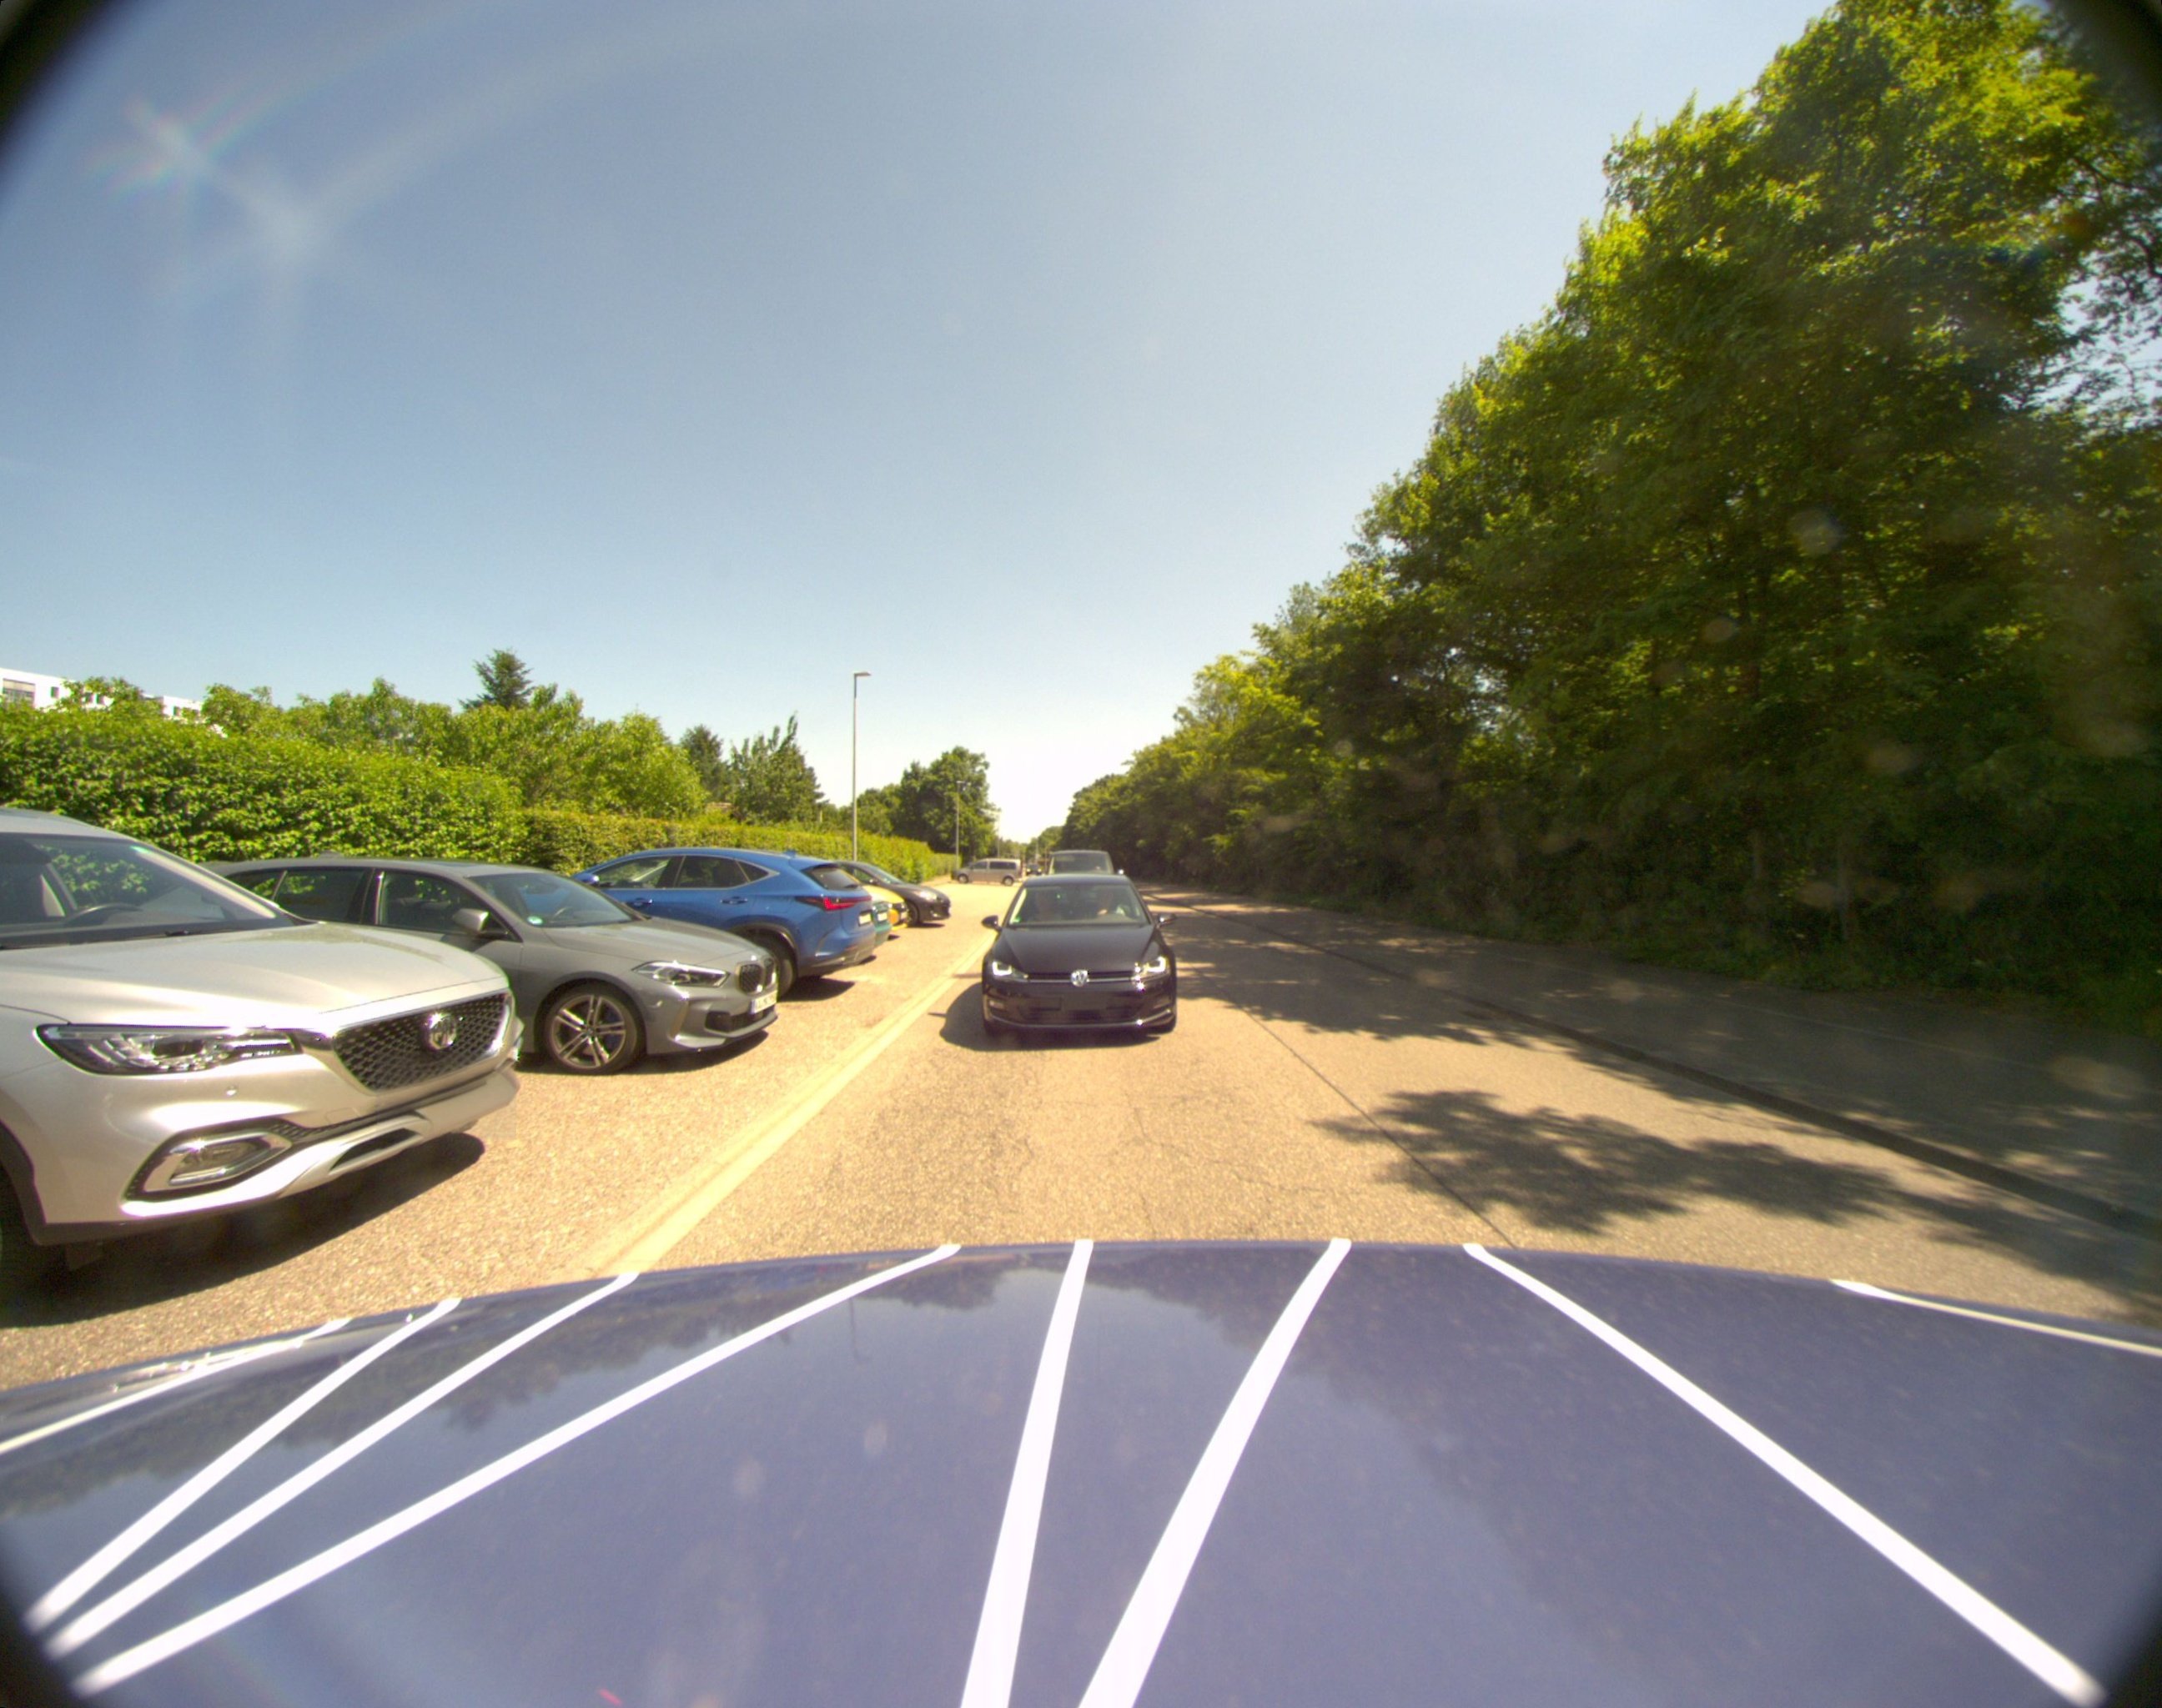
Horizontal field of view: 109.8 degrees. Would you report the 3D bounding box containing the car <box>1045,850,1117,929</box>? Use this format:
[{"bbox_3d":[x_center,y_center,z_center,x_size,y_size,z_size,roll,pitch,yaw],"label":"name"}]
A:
[{"bbox_3d":[-0.026,0.885,20.811,1.743,1.904,4.388,-1,0,0],"label":"car"}]

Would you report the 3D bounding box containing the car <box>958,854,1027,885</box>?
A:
[{"bbox_3d":[-5.949,1.064,51.506,4.493,1.840,1.695,3,0,-4],"label":"car"}]

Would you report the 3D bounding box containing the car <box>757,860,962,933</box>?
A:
[{"bbox_3d":[-5.103,0.963,17.855,4.251,1.410,1.649,3,0,0],"label":"car"}]

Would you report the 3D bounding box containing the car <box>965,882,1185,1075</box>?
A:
[{"bbox_3d":[-0.064,1.079,8.291,1.743,1.396,4.388,-1,0,0],"label":"car"}]

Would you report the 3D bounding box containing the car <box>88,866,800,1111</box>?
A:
[{"bbox_3d":[-4.549,0.914,5.906,4.036,1.401,1.679,3,0,-1],"label":"car"}]

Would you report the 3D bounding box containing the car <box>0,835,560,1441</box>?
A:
[{"bbox_3d":[-4.806,0.757,2.996,4.170,1.632,1.775,3,0,-2],"label":"car"}]

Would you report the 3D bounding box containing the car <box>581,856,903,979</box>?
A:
[{"bbox_3d":[-4.942,0.887,11.456,4.036,1.505,1.649,3,0,0],"label":"car"}]

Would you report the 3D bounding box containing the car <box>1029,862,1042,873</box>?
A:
[{"bbox_3d":[-6.152,1.752,102.393,1.744,1.396,4.386,1,0,-4],"label":"car"}]

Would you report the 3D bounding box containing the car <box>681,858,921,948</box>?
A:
[{"bbox_3d":[-5.387,0.912,14.946,4.036,1.438,1.649,3,0,0],"label":"car"}]

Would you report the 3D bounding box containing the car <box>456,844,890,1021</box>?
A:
[{"bbox_3d":[-4.492,0.822,8.798,4.036,1.632,1.674,3,0,0],"label":"car"}]
